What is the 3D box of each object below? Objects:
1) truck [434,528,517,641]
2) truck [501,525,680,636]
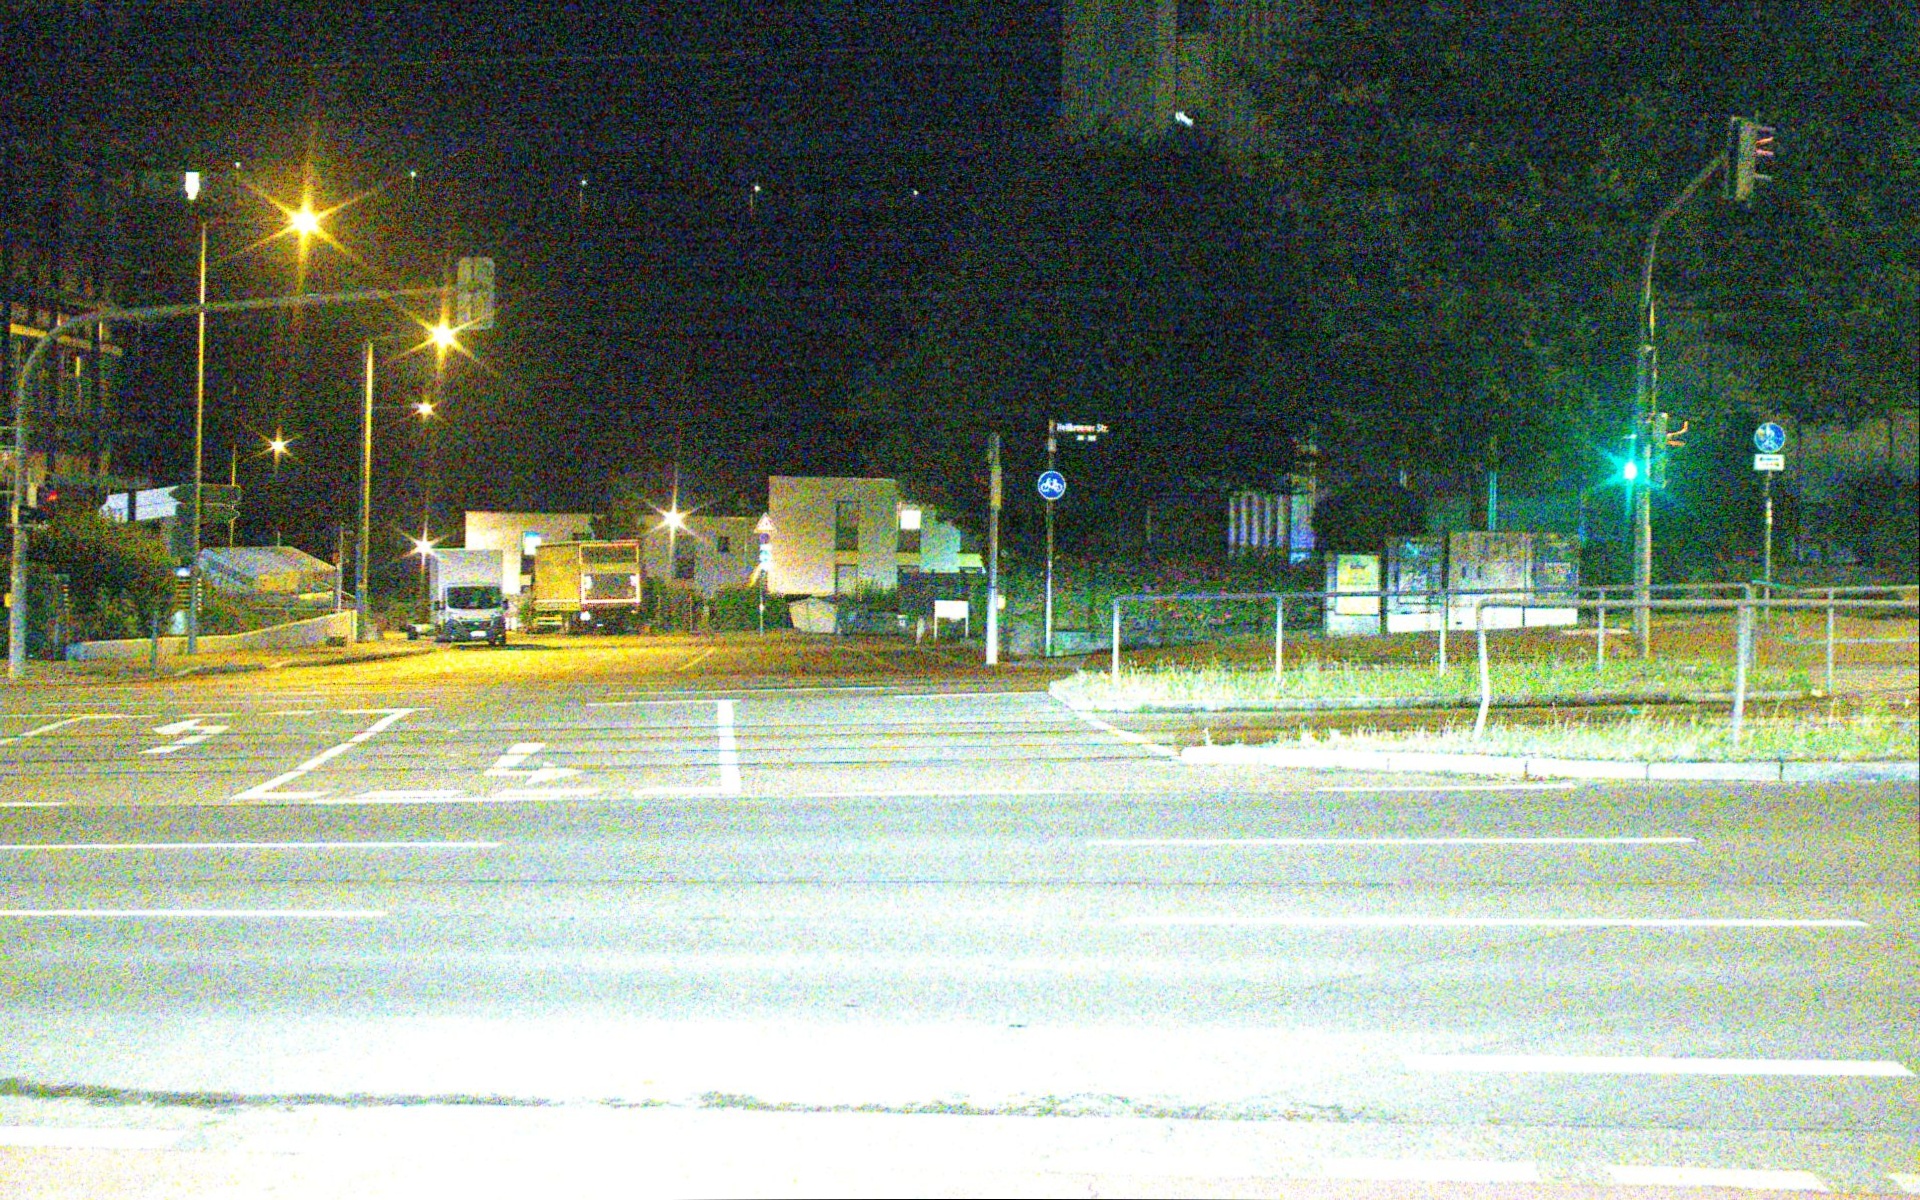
[{"bbox_3d":[-16.358,-0.536,115.961,2.582,3.694,5.739,0,1,-10],"label":"truck"},{"bbox_3d":[-16.036,-0.879,147.976,4.821,4.531,12.669,0,1,-20],"label":"truck"}]
